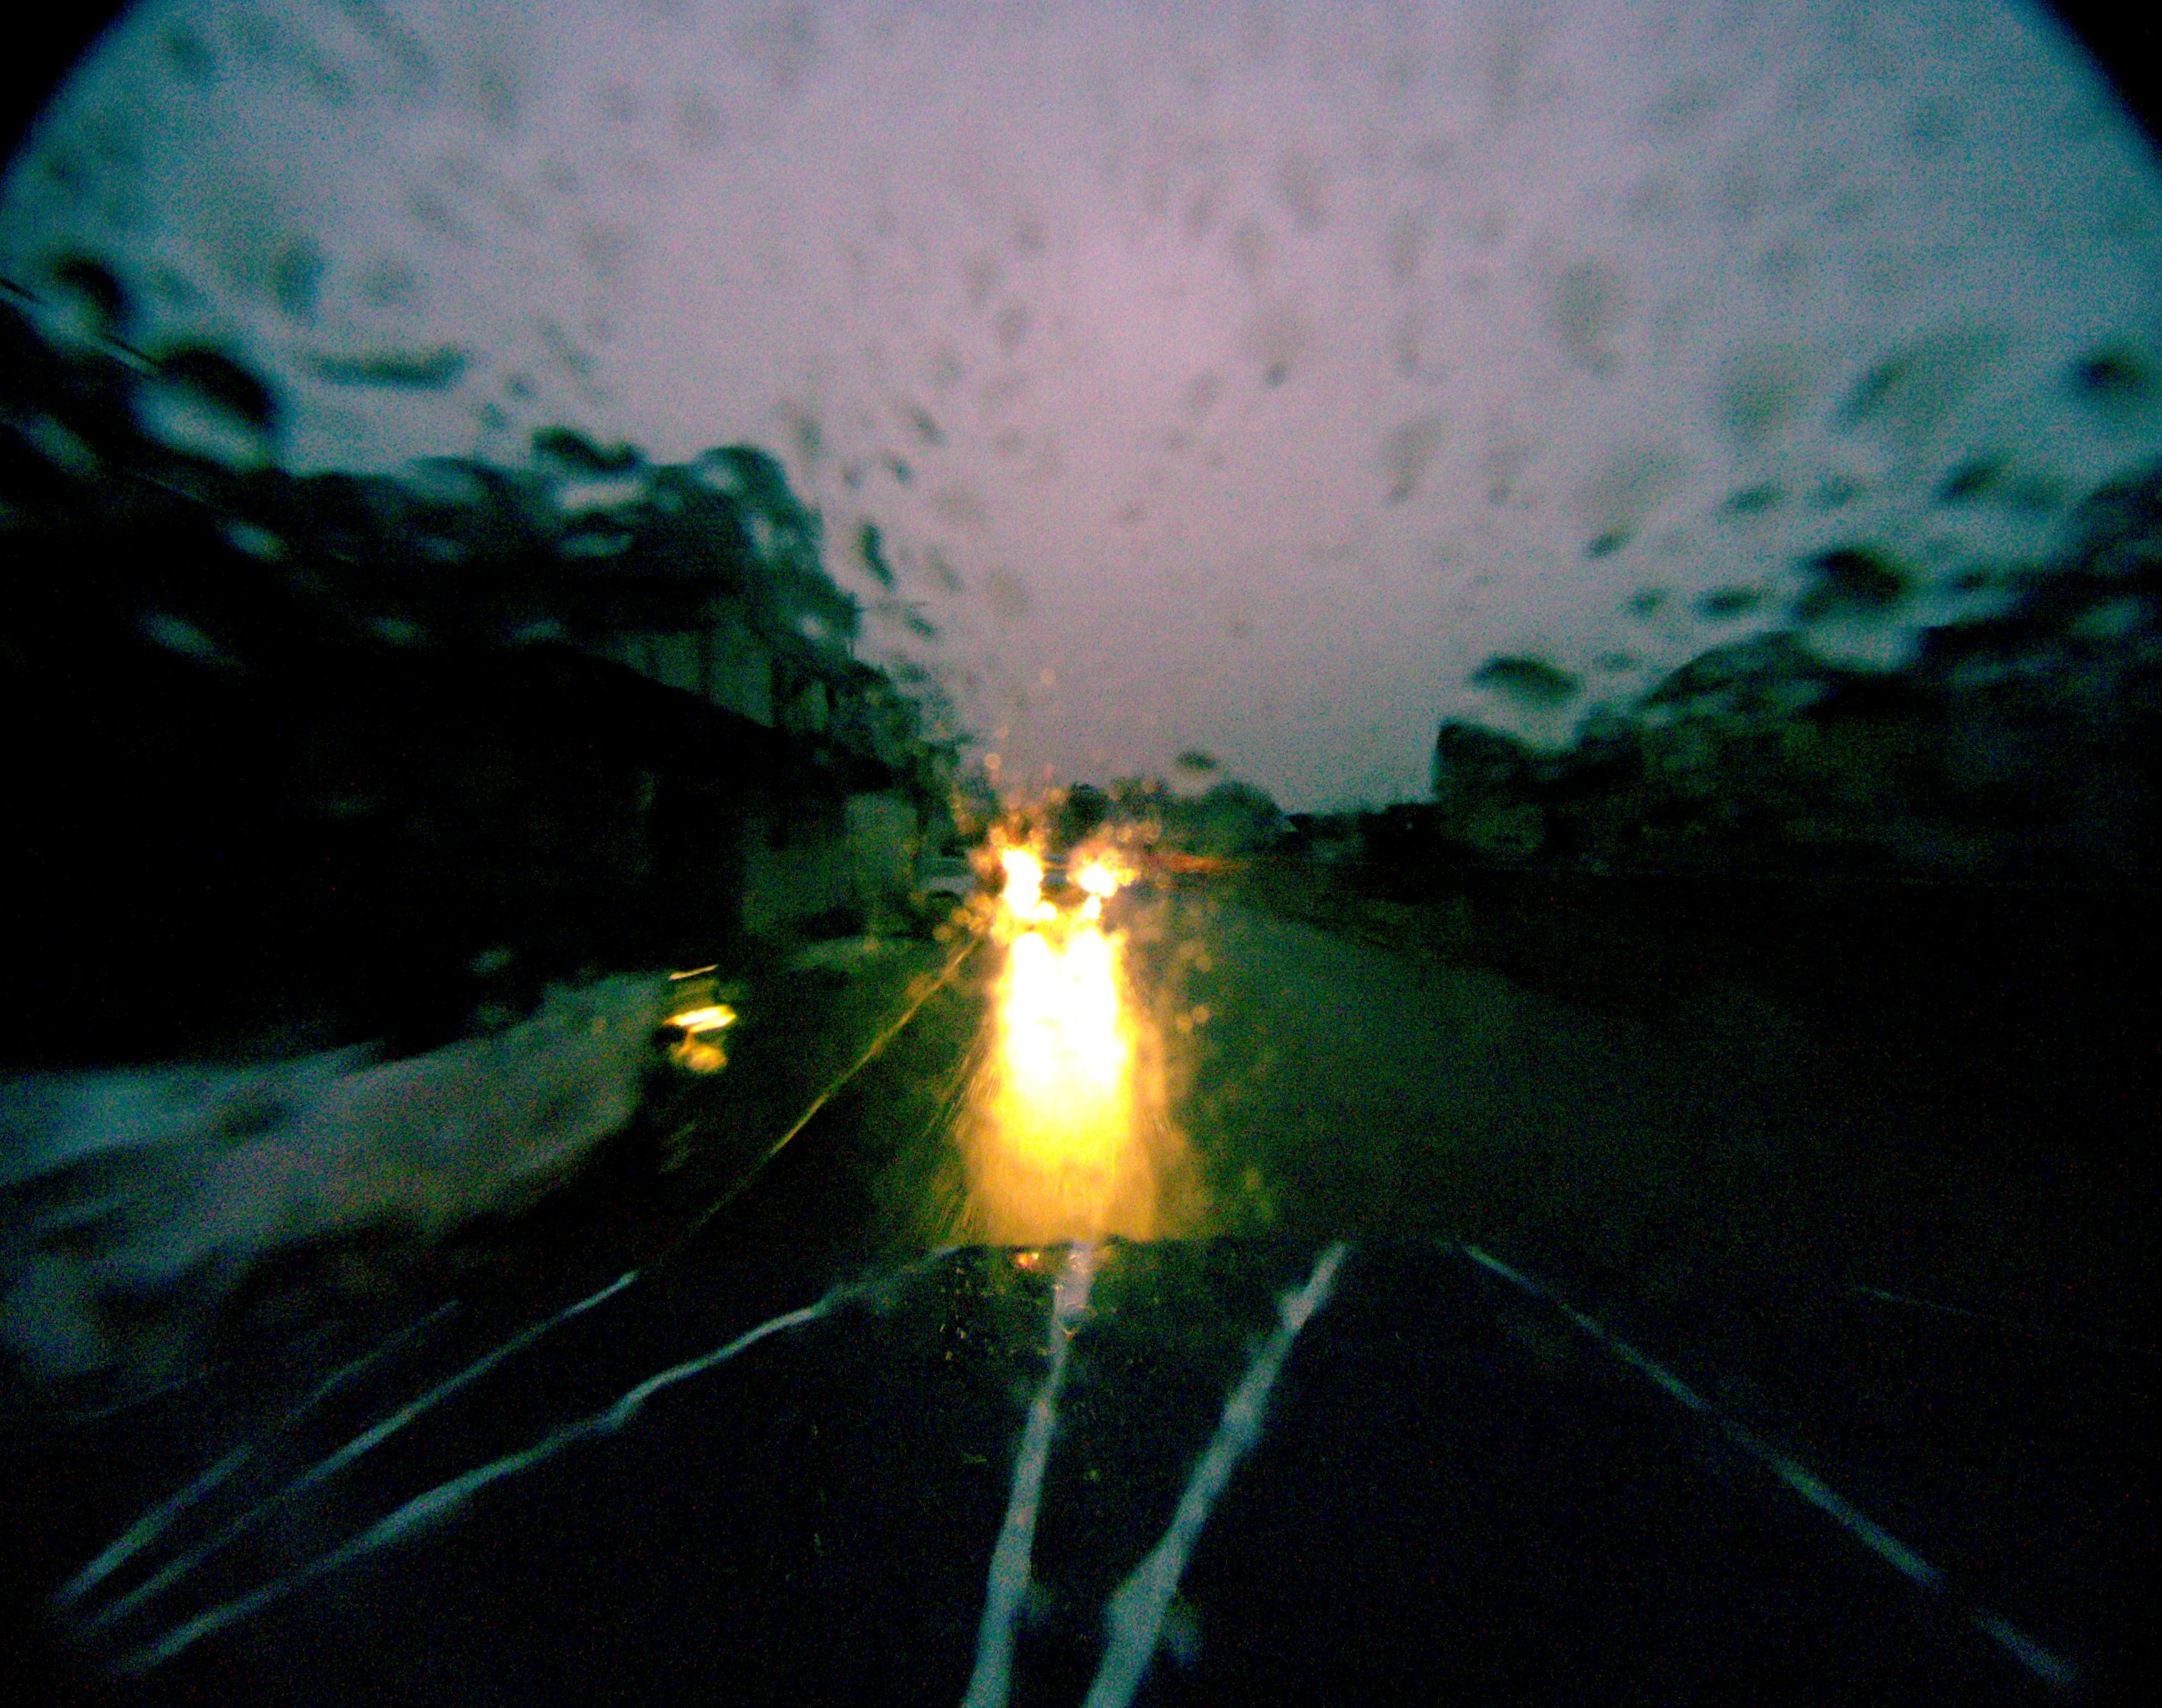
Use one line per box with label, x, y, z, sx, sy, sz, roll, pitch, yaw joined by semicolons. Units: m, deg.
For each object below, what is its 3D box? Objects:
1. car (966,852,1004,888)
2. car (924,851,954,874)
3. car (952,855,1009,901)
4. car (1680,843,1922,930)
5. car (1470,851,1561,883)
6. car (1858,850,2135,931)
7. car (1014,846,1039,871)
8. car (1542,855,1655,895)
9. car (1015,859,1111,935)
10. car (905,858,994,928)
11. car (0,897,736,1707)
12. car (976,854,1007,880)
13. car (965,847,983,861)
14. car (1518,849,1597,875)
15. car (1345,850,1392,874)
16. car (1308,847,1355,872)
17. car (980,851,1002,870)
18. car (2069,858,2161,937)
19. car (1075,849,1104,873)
car;-4.528;0.719;36.319;1.669;1.566;4.494;0;1;-6
car;-10.194;0.580;54.417;1.814;1.543;4.298;0;1;-14
car;-3.809;0.841;29.496;1.962;1.524;5.006;-3;1;-5
car;16.396;0.641;17.619;1.804;1.793;3.859;0;1;-3
car;21.155;0.606;37.268;1.881;1.434;4.648;-1;1;1
car;21.760;0.771;18.362;1.863;1.672;3.999;-2;1;0
car;-4.516;0.398;63.005;1.907;1.628;4.569;0;-6;-4
car;21.480;0.842;31.756;1.881;1.496;4.143;-1;1;0
car;-0.528;0.929;18.082;1.999;1.525;3.999;-2;-1;-4
car;-3.130;0.864;18.833;1.657;1.446;4.236;2;0;-3
car;-2.710;0.964;2.736;1.649;1.407;2.727;2;0;0
car;-5.270;0.740;44.474;1.708;1.443;4.188;1;0;-7
car;-13.992;0.032;98.953;1.918;1.780;4.561;0;0;-14
car;31.277;0.538;49.949;4.032;1.515;1.815;-2;1;17
car;21.066;0.546;55.849;1.901;1.509;3.999;-3;2;0
car;20.855;0.461;63.452;2.000;1.894;4.355;-3;1;-7
car;-7.605;0.503;64.197;1.813;1.555;4.301;0;0;-6
car;22.033;0.881;14.226;1.773;1.515;4.031;0;1;0
car;0.538;0.437;51.192;1.737;1.527;3.779;-2;1;-3
